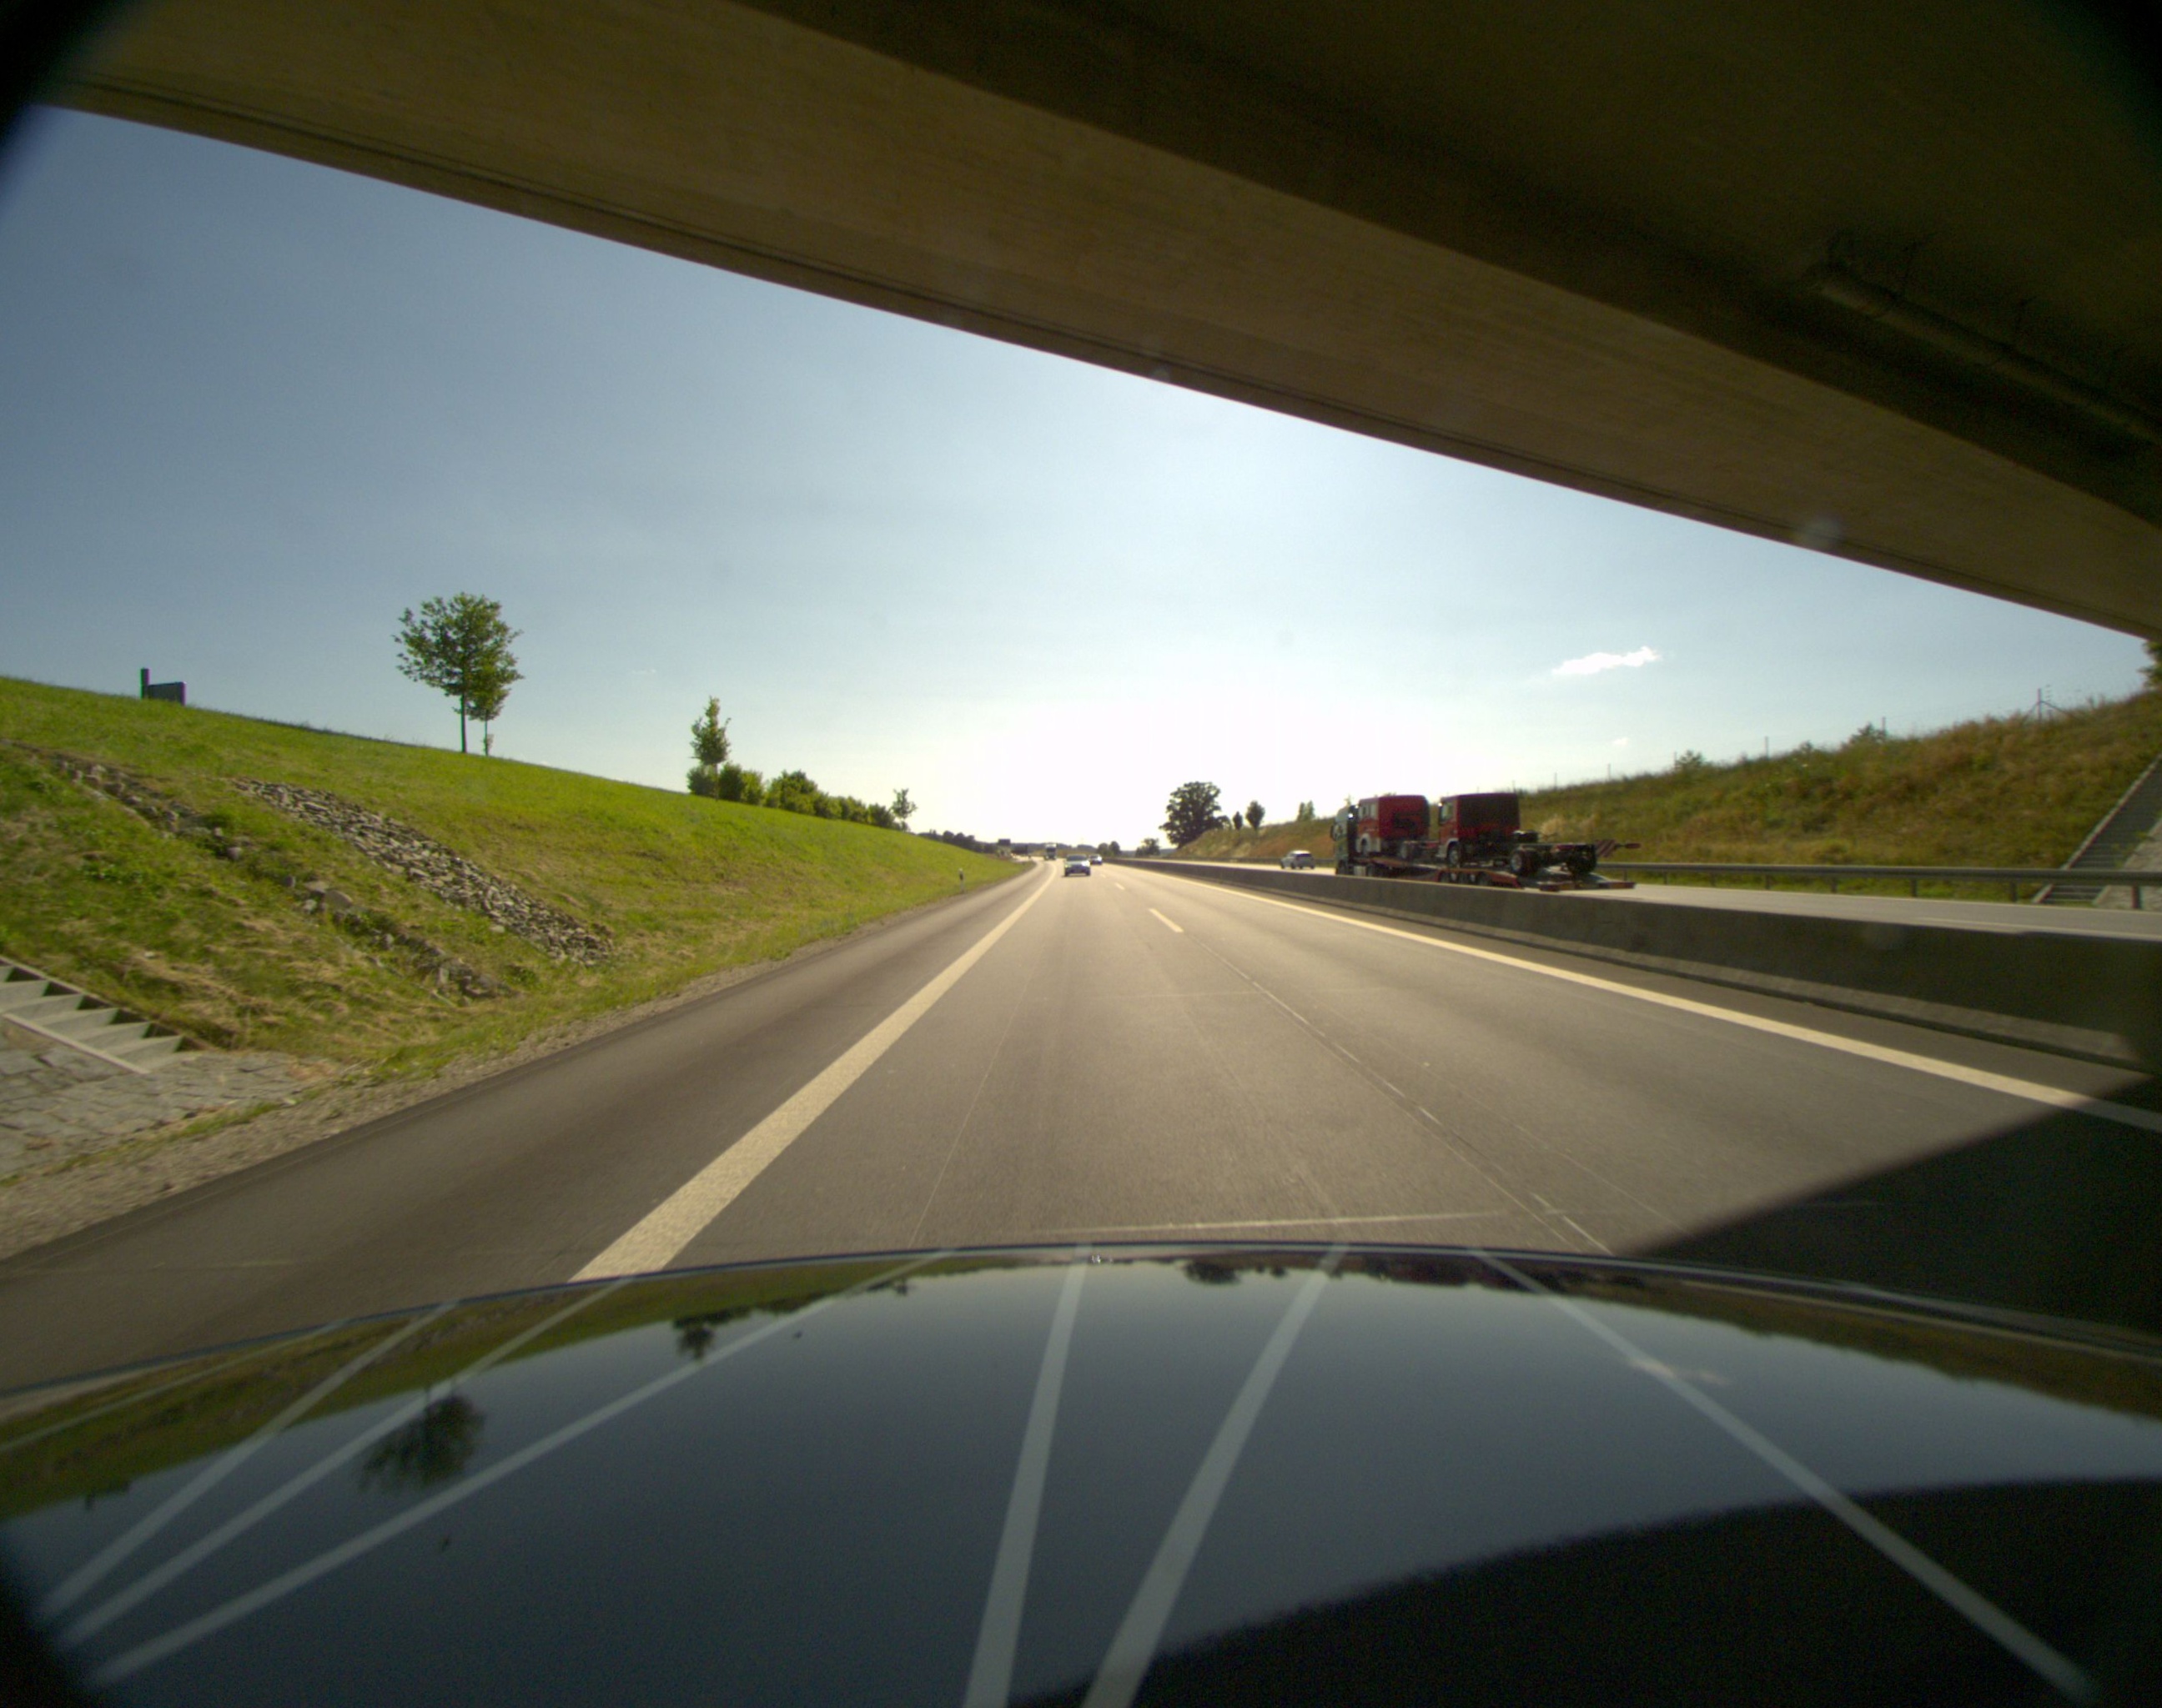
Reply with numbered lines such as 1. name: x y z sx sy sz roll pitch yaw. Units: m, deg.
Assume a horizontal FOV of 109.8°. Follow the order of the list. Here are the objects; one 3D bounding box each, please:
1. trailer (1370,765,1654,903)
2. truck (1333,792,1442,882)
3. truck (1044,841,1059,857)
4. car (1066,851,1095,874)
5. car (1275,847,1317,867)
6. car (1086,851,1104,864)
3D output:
1. trailer: 14.088 -0.573 27.008 2.671 3.636 13.235 -1 0 1
2. truck: 14.146 -0.739 35.570 2.742 3.809 5.830 -1 1 0
3. truck: -7.283 -1.243 188.963 3.092 3.991 6.184 -1 0 -7
4. car: -0.085 0.599 54.760 1.892 1.565 3.790 -2 1 -3
5. car: 17.125 0.199 60.729 1.866 1.522 4.567 -1 0 -2
6. car: 1.823 0.405 98.899 1.900 1.560 3.998 -1 0 -4
